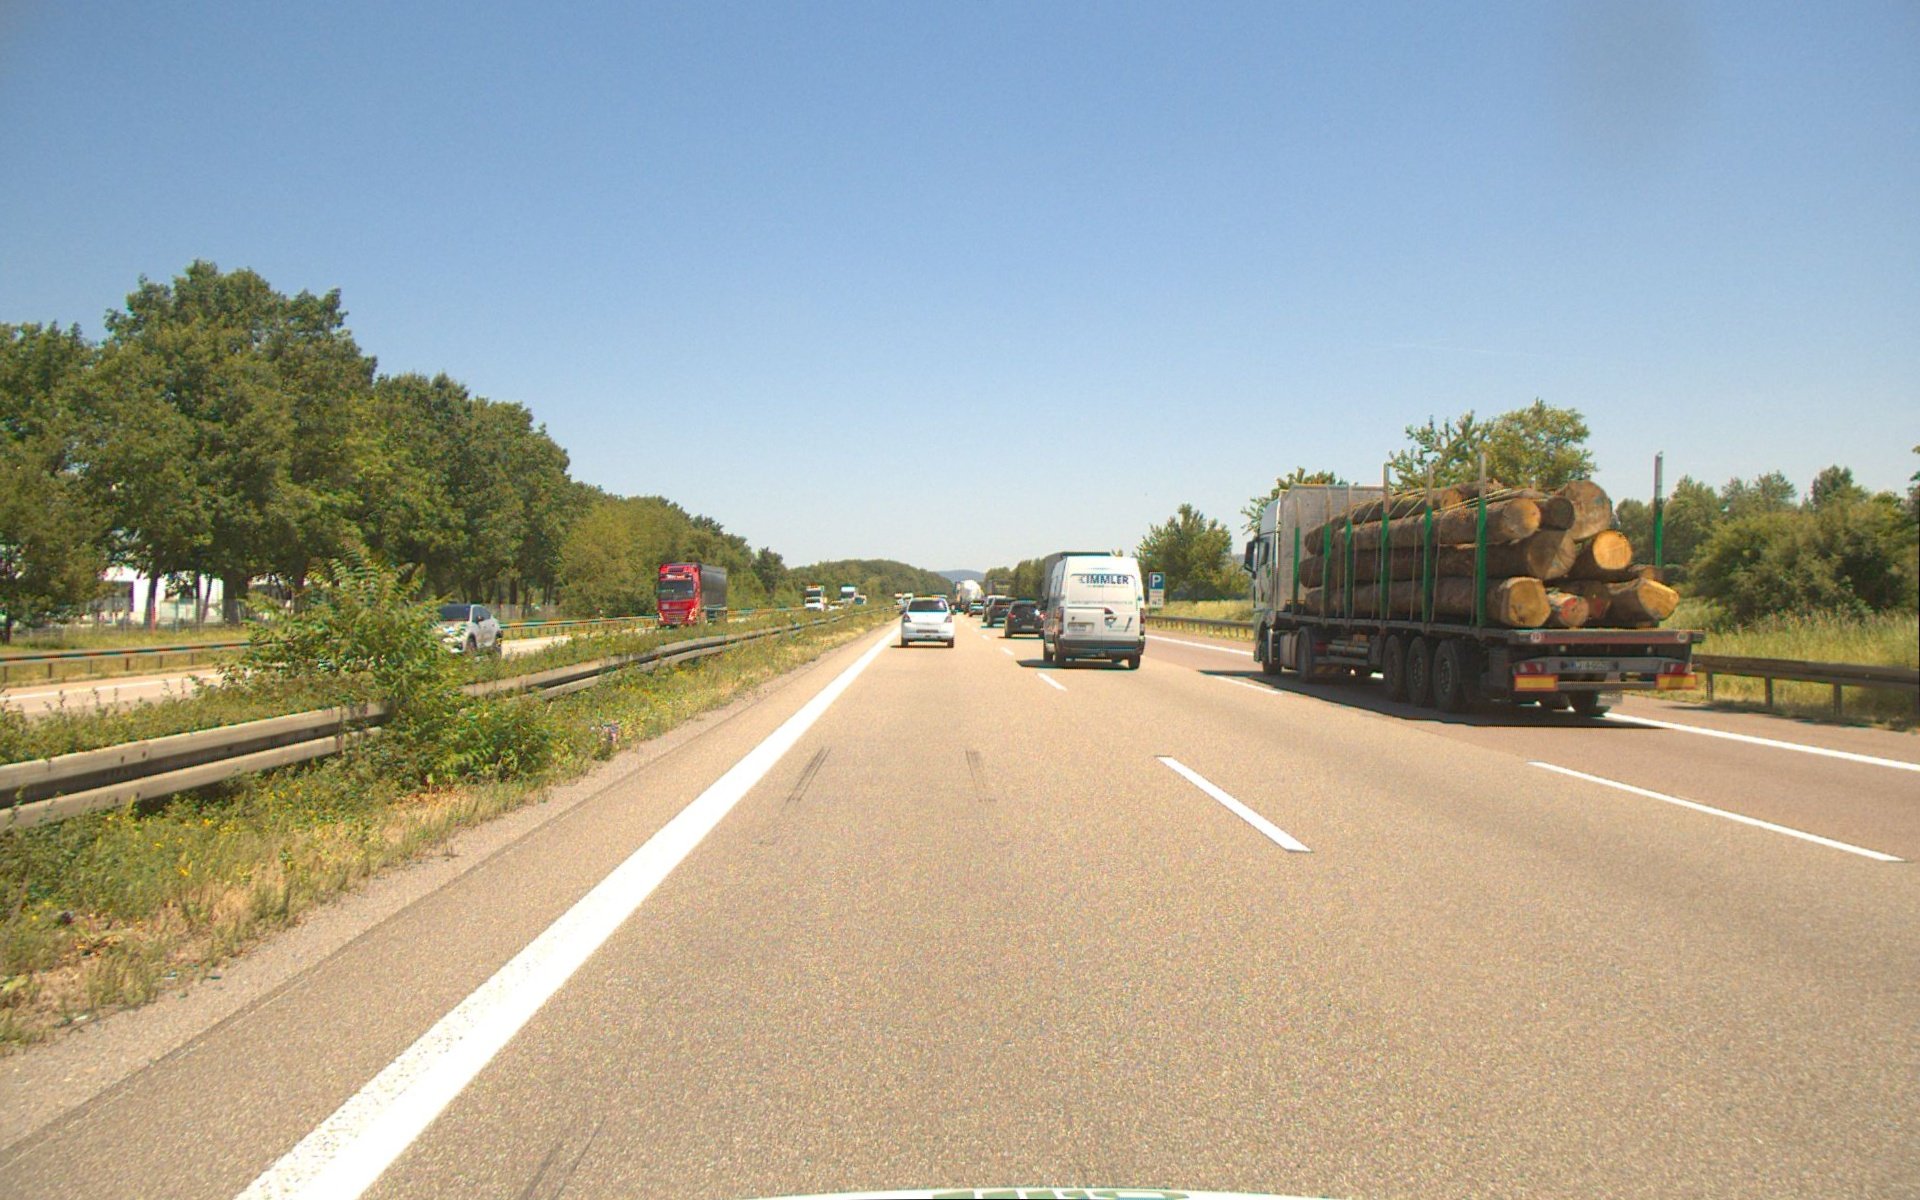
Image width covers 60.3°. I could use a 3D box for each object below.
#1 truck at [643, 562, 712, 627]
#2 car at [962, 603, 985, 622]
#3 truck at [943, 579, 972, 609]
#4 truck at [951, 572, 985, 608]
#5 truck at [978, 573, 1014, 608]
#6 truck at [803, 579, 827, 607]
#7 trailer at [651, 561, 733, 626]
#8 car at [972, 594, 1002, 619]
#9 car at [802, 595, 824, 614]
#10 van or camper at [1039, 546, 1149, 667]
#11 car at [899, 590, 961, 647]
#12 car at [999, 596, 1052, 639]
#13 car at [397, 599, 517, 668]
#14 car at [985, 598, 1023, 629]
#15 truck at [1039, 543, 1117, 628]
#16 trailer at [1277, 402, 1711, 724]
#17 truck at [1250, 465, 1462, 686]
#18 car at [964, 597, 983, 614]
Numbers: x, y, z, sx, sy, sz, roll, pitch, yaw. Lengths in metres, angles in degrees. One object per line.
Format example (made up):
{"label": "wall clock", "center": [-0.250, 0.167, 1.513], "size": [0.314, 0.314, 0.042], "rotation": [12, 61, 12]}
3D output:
{"label": "truck", "center": [-18.205, -0.351, 107.003], "size": [3.369, 3.999, 6.219], "rotation": [-2, 0, -1]}
{"label": "car", "center": [1.227, 1.104, 147.153], "size": [1.820, 1.681, 3.998], "rotation": [1, 0, -3]}
{"label": "truck", "center": [-0.489, -0.877, 245.198], "size": [3.193, 4.282, 16.831], "rotation": [2, 0, -3]}
{"label": "truck", "center": [0.961, -1.190, 210.927], "size": [3.193, 4.282, 16.831], "rotation": [2, 0, -3]}
{"label": "truck", "center": [4.612, -1.200, 216.429], "size": [3.193, 4.282, 16.831], "rotation": [2, 0, -3]}
{"label": "truck", "center": [-20.251, -0.994, 231.564], "size": [2.552, 3.827, 9.863], "rotation": [-1, 0, -1]}
{"label": "trailer", "center": [-18.319, -0.420, 114.115], "size": [3.377, 4.081, 14.200], "rotation": [-2, 0, -1]}
{"label": "car", "center": [1.885, 0.461, 115.617], "size": [1.820, 1.681, 3.998], "rotation": [1, 0, -3]}
{"label": "car", "center": [-15.105, 0.456, 170.584], "size": [1.955, 1.946, 5.209], "rotation": [-2, 0, -3]}
{"label": "van or camper", "center": [3.117, 0.152, 39.674], "size": [2.016, 2.668, 5.984], "rotation": [1, 0, -1]}
{"label": "car", "center": [-0.994, 0.561, 52.286], "size": [1.820, 1.681, 3.998], "rotation": [2, 0, -3]}
{"label": "car", "center": [2.652, 0.696, 67.418], "size": [1.820, 1.681, 3.998], "rotation": [1, 0, -3]}
{"label": "car", "center": [-13.539, 0.853, 44.850], "size": [1.808, 1.711, 4.813], "rotation": [-2, 0, -1]}
{"label": "car", "center": [2.445, 0.741, 92.162], "size": [1.820, 1.681, 3.998], "rotation": [1, 0, -3]}
{"label": "truck", "center": [6.532, -0.748, 94.353], "size": [3.016, 4.282, 16.841], "rotation": [2, 0, 0]}
{"label": "trailer", "center": [8.051, -0.480, 27.691], "size": [2.599, 4.028, 13.633], "rotation": [1, 0, -1]}
{"label": "truck", "center": [7.931, -0.459, 33.989], "size": [2.615, 4.064, 6.634], "rotation": [1, 0, -1]}
{"label": "car", "center": [1.376, 0.570, 171.972], "size": [1.820, 1.681, 3.998], "rotation": [1, 0, -3]}
